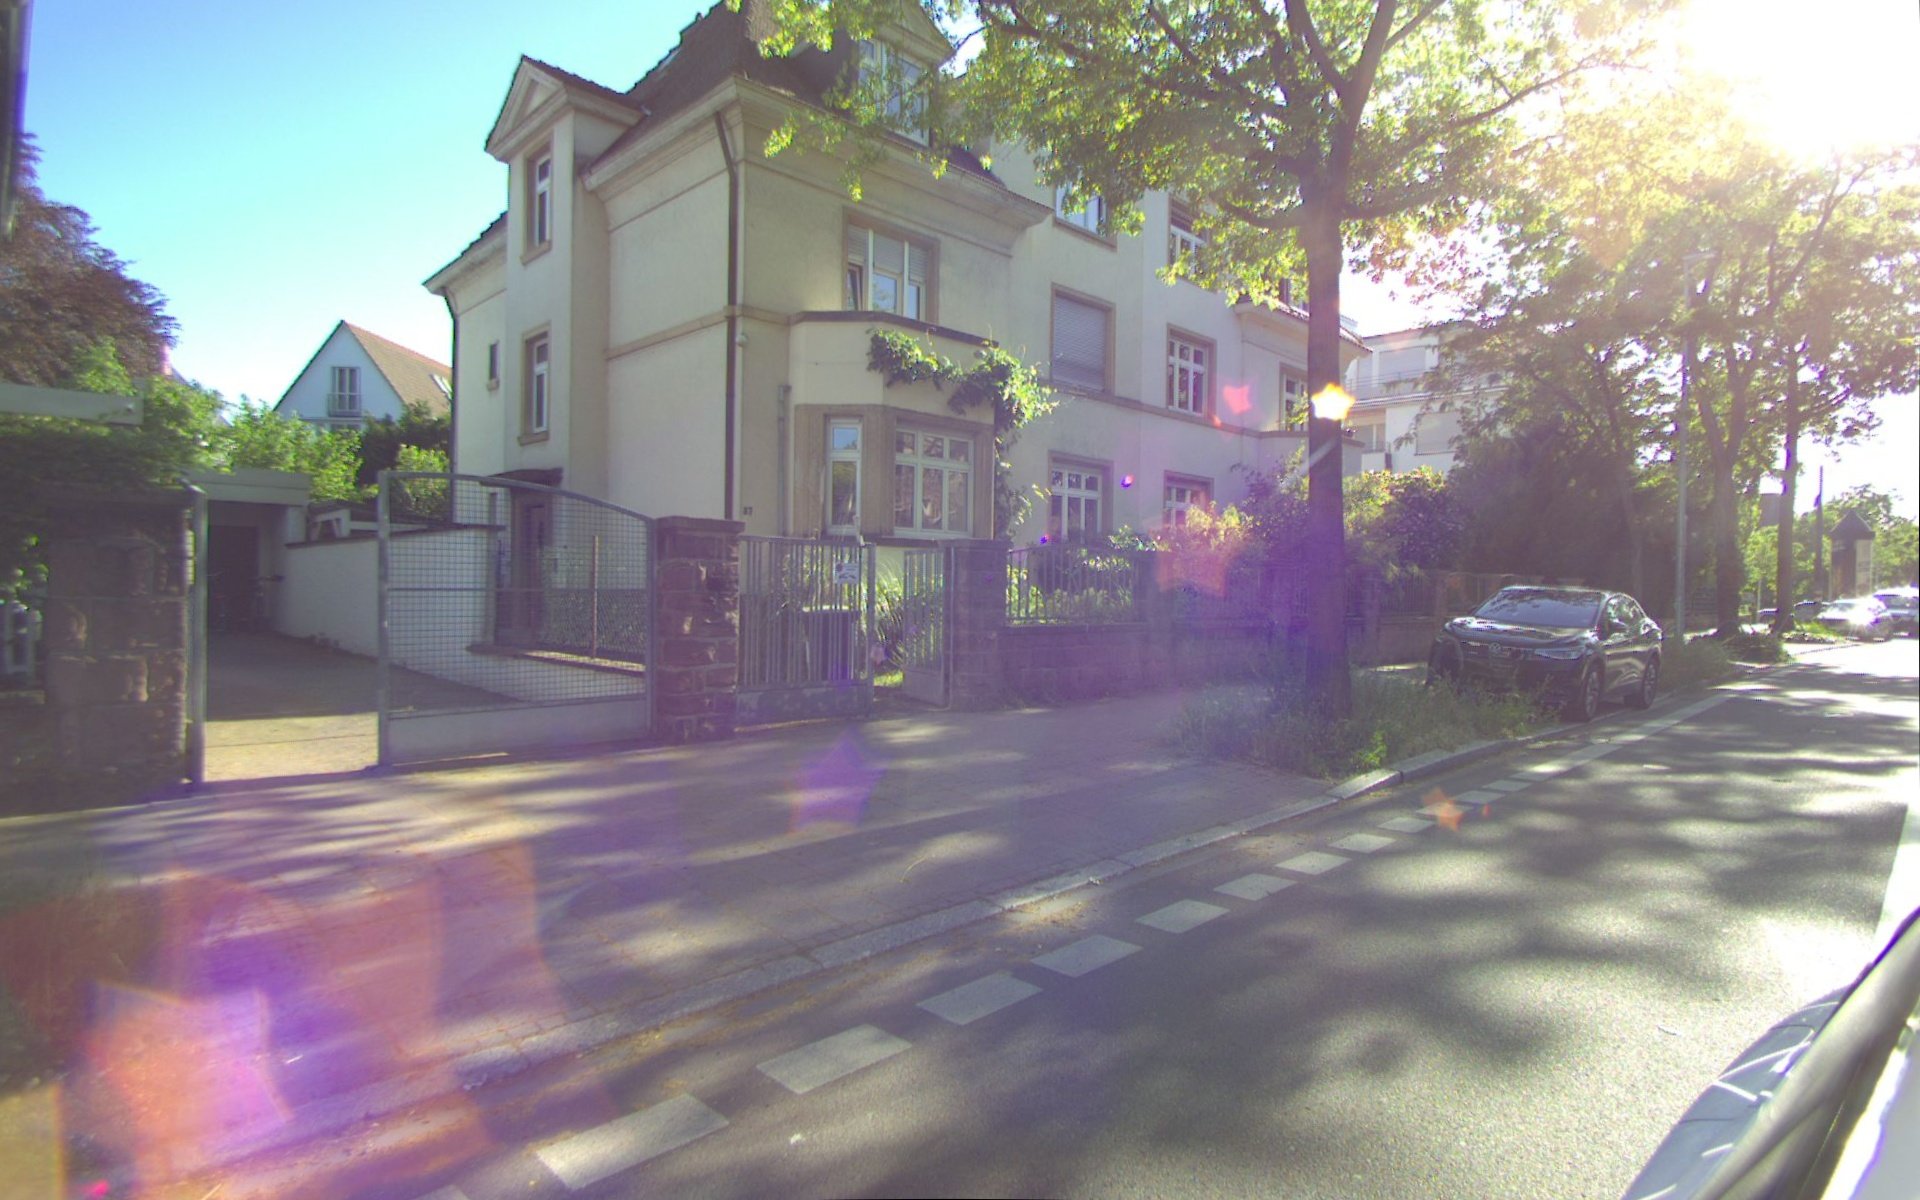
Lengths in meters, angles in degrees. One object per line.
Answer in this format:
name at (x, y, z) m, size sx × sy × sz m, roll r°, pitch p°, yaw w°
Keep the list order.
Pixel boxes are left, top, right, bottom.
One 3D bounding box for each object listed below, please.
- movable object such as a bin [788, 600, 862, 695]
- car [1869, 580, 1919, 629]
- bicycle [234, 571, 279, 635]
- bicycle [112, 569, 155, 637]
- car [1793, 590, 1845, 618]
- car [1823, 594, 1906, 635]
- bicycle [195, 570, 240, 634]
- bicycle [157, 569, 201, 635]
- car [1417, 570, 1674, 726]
movable object such as a bin at (-1.625, 0.539, 12.103) m, size 0.712 × 1.068 × 0.969 m, roll 0°, pitch 0°, yaw -18°
car at (37.537, 0.154, 39.919) m, size 4.172 × 1.852 × 1.904 m, roll -1°, pitch 1°, yaw -40°
bicycle at (-13.087, 0.044, 18.811) m, size 0.512 × 1.136 × 1.464 m, roll 0°, pitch 0°, yaw -42°
bicycle at (-14.473, 0.039, 17.711) m, size 0.512 × 1.136 × 1.464 m, roll 0°, pitch 0°, yaw -42°
car at (47.901, 0.192, 56.424) m, size 3.931 × 1.460 × 1.739 m, roll -1°, pitch 1°, yaw -42°
car at (32.420, 0.469, 36.247) m, size 3.848 × 1.356 × 1.718 m, roll -1°, pitch 1°, yaw -40°
bicycle at (-13.565, 0.027, 18.481) m, size 0.512 × 1.136 × 1.464 m, roll 0°, pitch 0°, yaw -42°
bicycle at (-13.983, 0.033, 18.103) m, size 0.512 × 1.136 × 1.464 m, roll 0°, pitch 0°, yaw -42°
car at (8.002, 0.518, 13.668) m, size 4.102 × 1.765 × 1.995 m, roll -1°, pitch 1°, yaw -44°
